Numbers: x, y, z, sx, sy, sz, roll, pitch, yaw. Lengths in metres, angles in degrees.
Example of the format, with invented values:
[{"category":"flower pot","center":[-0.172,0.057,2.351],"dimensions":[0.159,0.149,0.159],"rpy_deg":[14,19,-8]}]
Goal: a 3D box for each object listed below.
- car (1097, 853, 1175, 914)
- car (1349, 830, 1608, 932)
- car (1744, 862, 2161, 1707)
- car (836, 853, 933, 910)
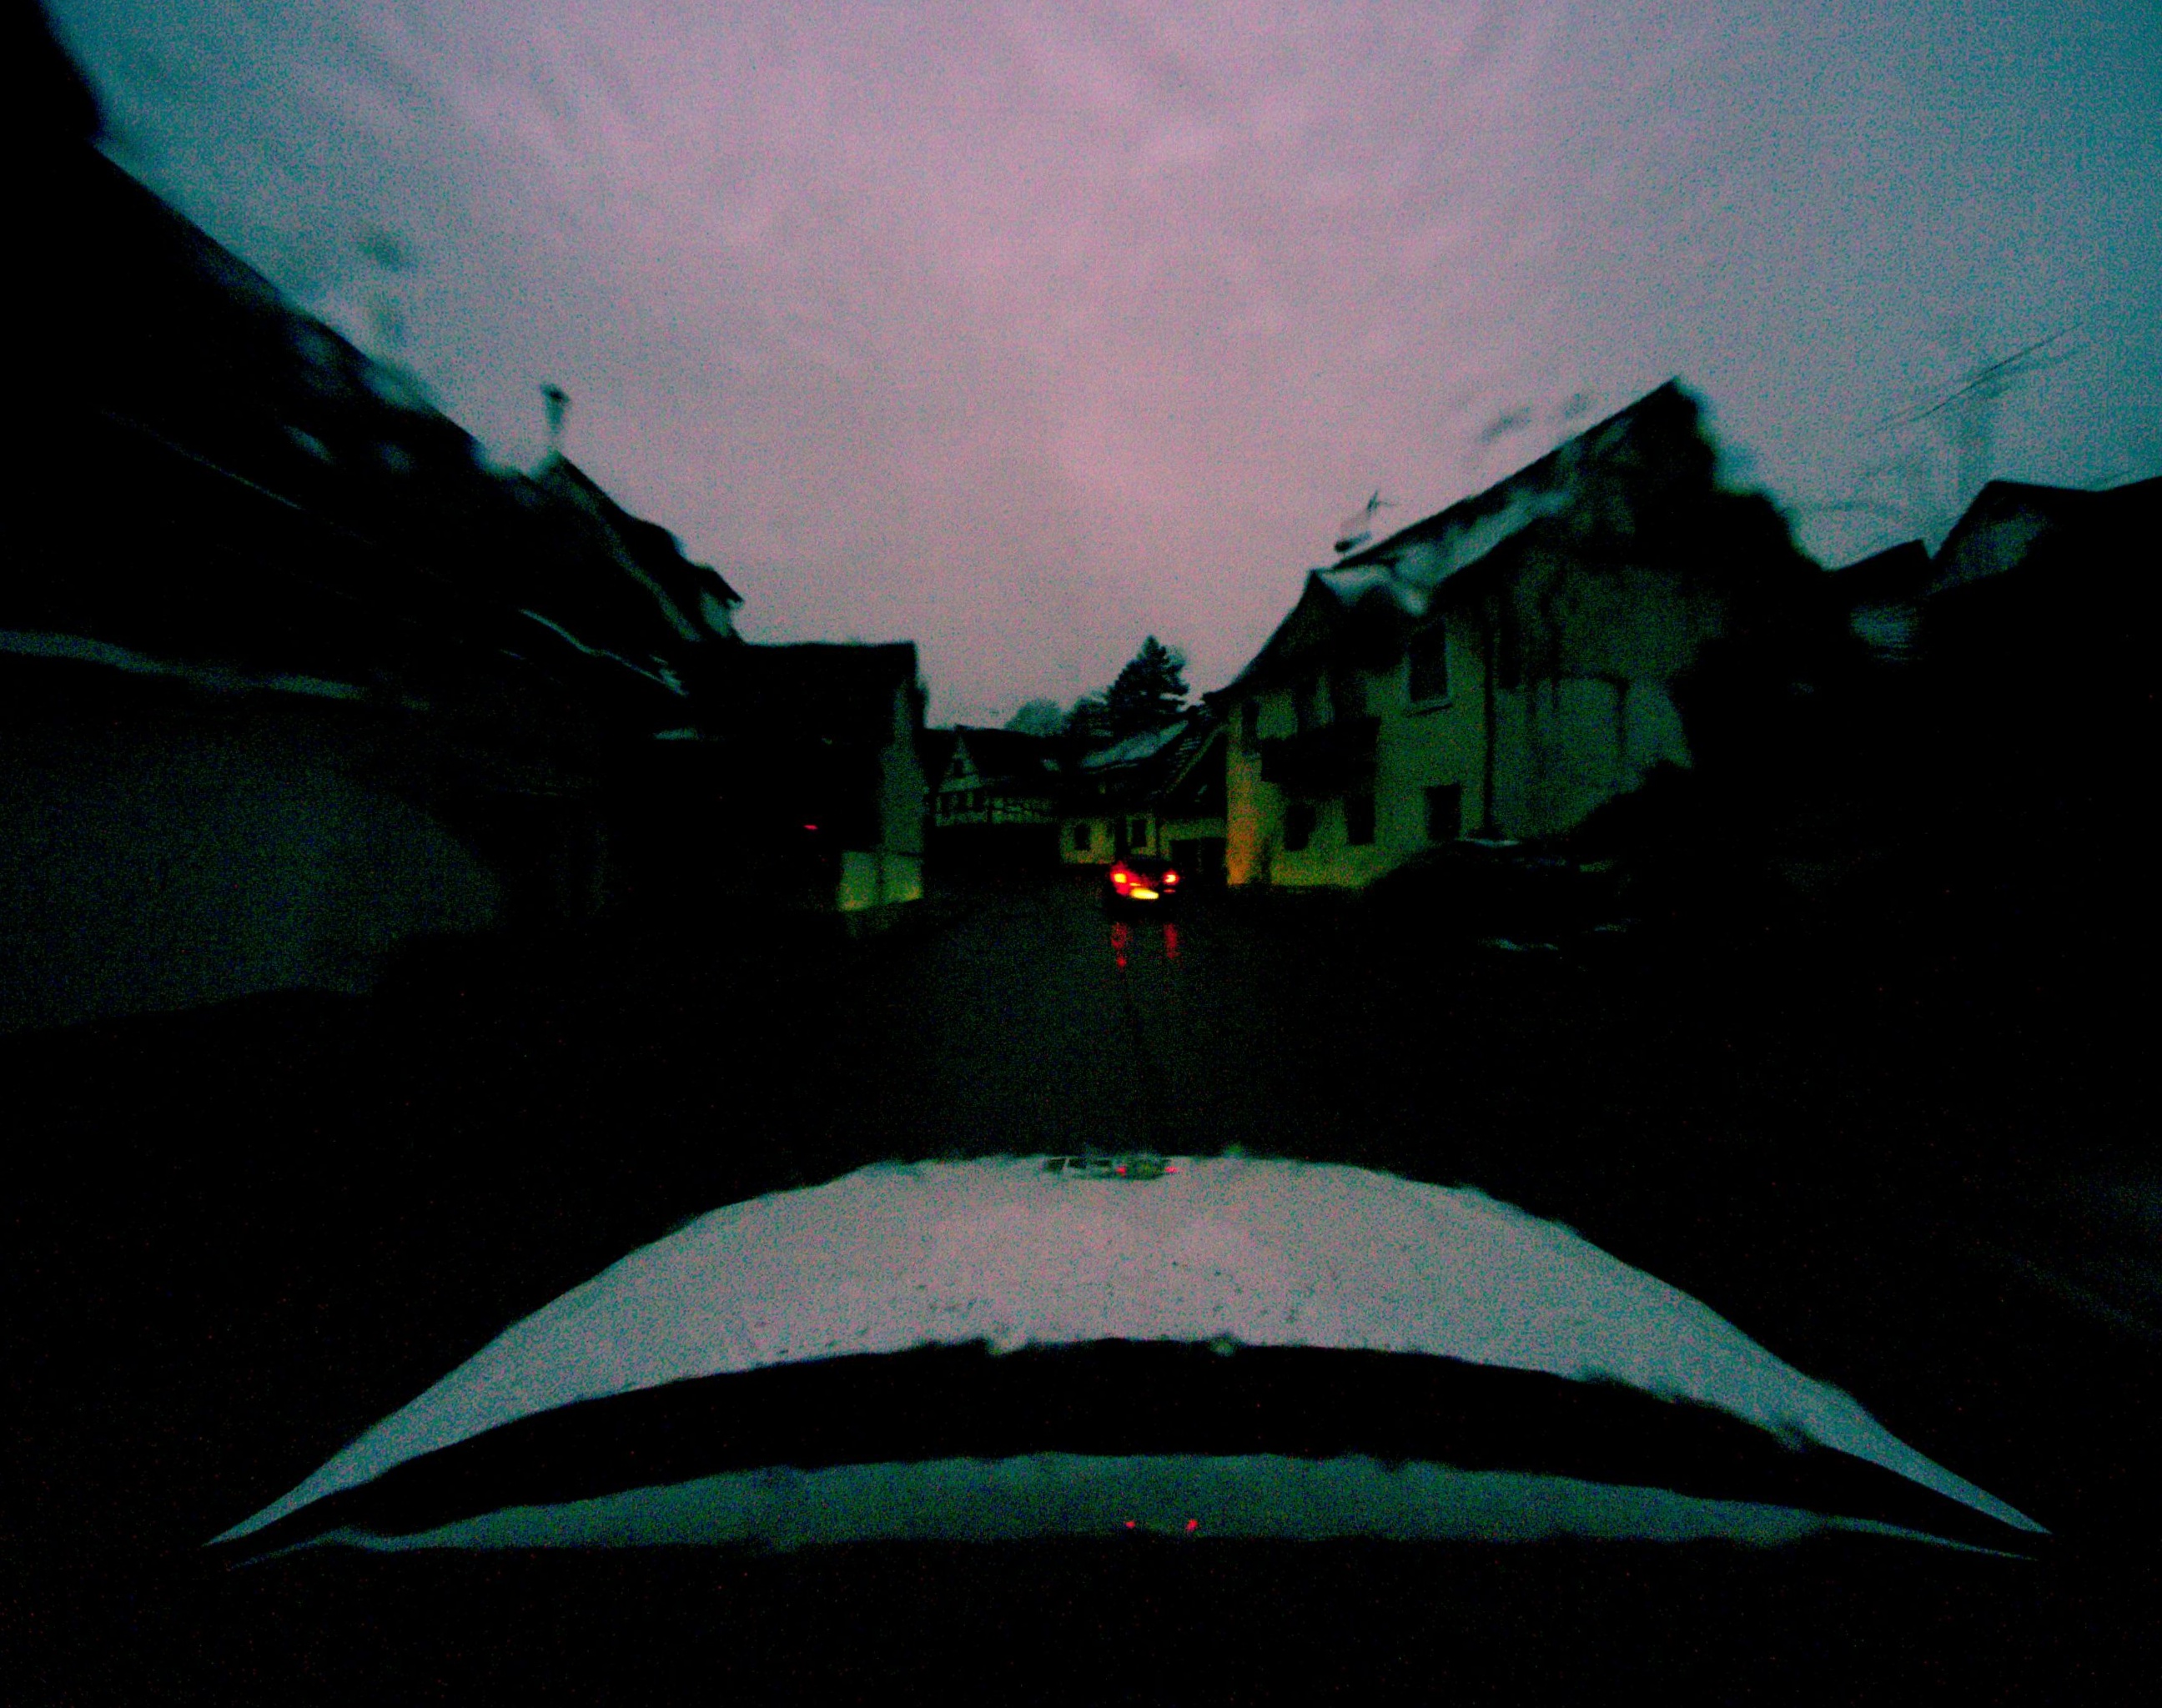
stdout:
[{"category":"car","center":[1.391,0.737,21.919],"dimensions":[1.543,1.466,3.692],"rpy_deg":[1,0,-5]},{"category":"car","center":[6.859,0.459,14.657],"dimensions":[1.810,1.487,4.256],"rpy_deg":[-2,-1,-15]},{"category":"car","center":[2.695,0.782,0.271],"dimensions":[1.633,1.494,3.997],"rpy_deg":[2,0,-1]},{"category":"car","center":[-5.337,0.732,22.611],"dimensions":[1.612,1.421,3.805],"rpy_deg":[1,-1,2]}]
